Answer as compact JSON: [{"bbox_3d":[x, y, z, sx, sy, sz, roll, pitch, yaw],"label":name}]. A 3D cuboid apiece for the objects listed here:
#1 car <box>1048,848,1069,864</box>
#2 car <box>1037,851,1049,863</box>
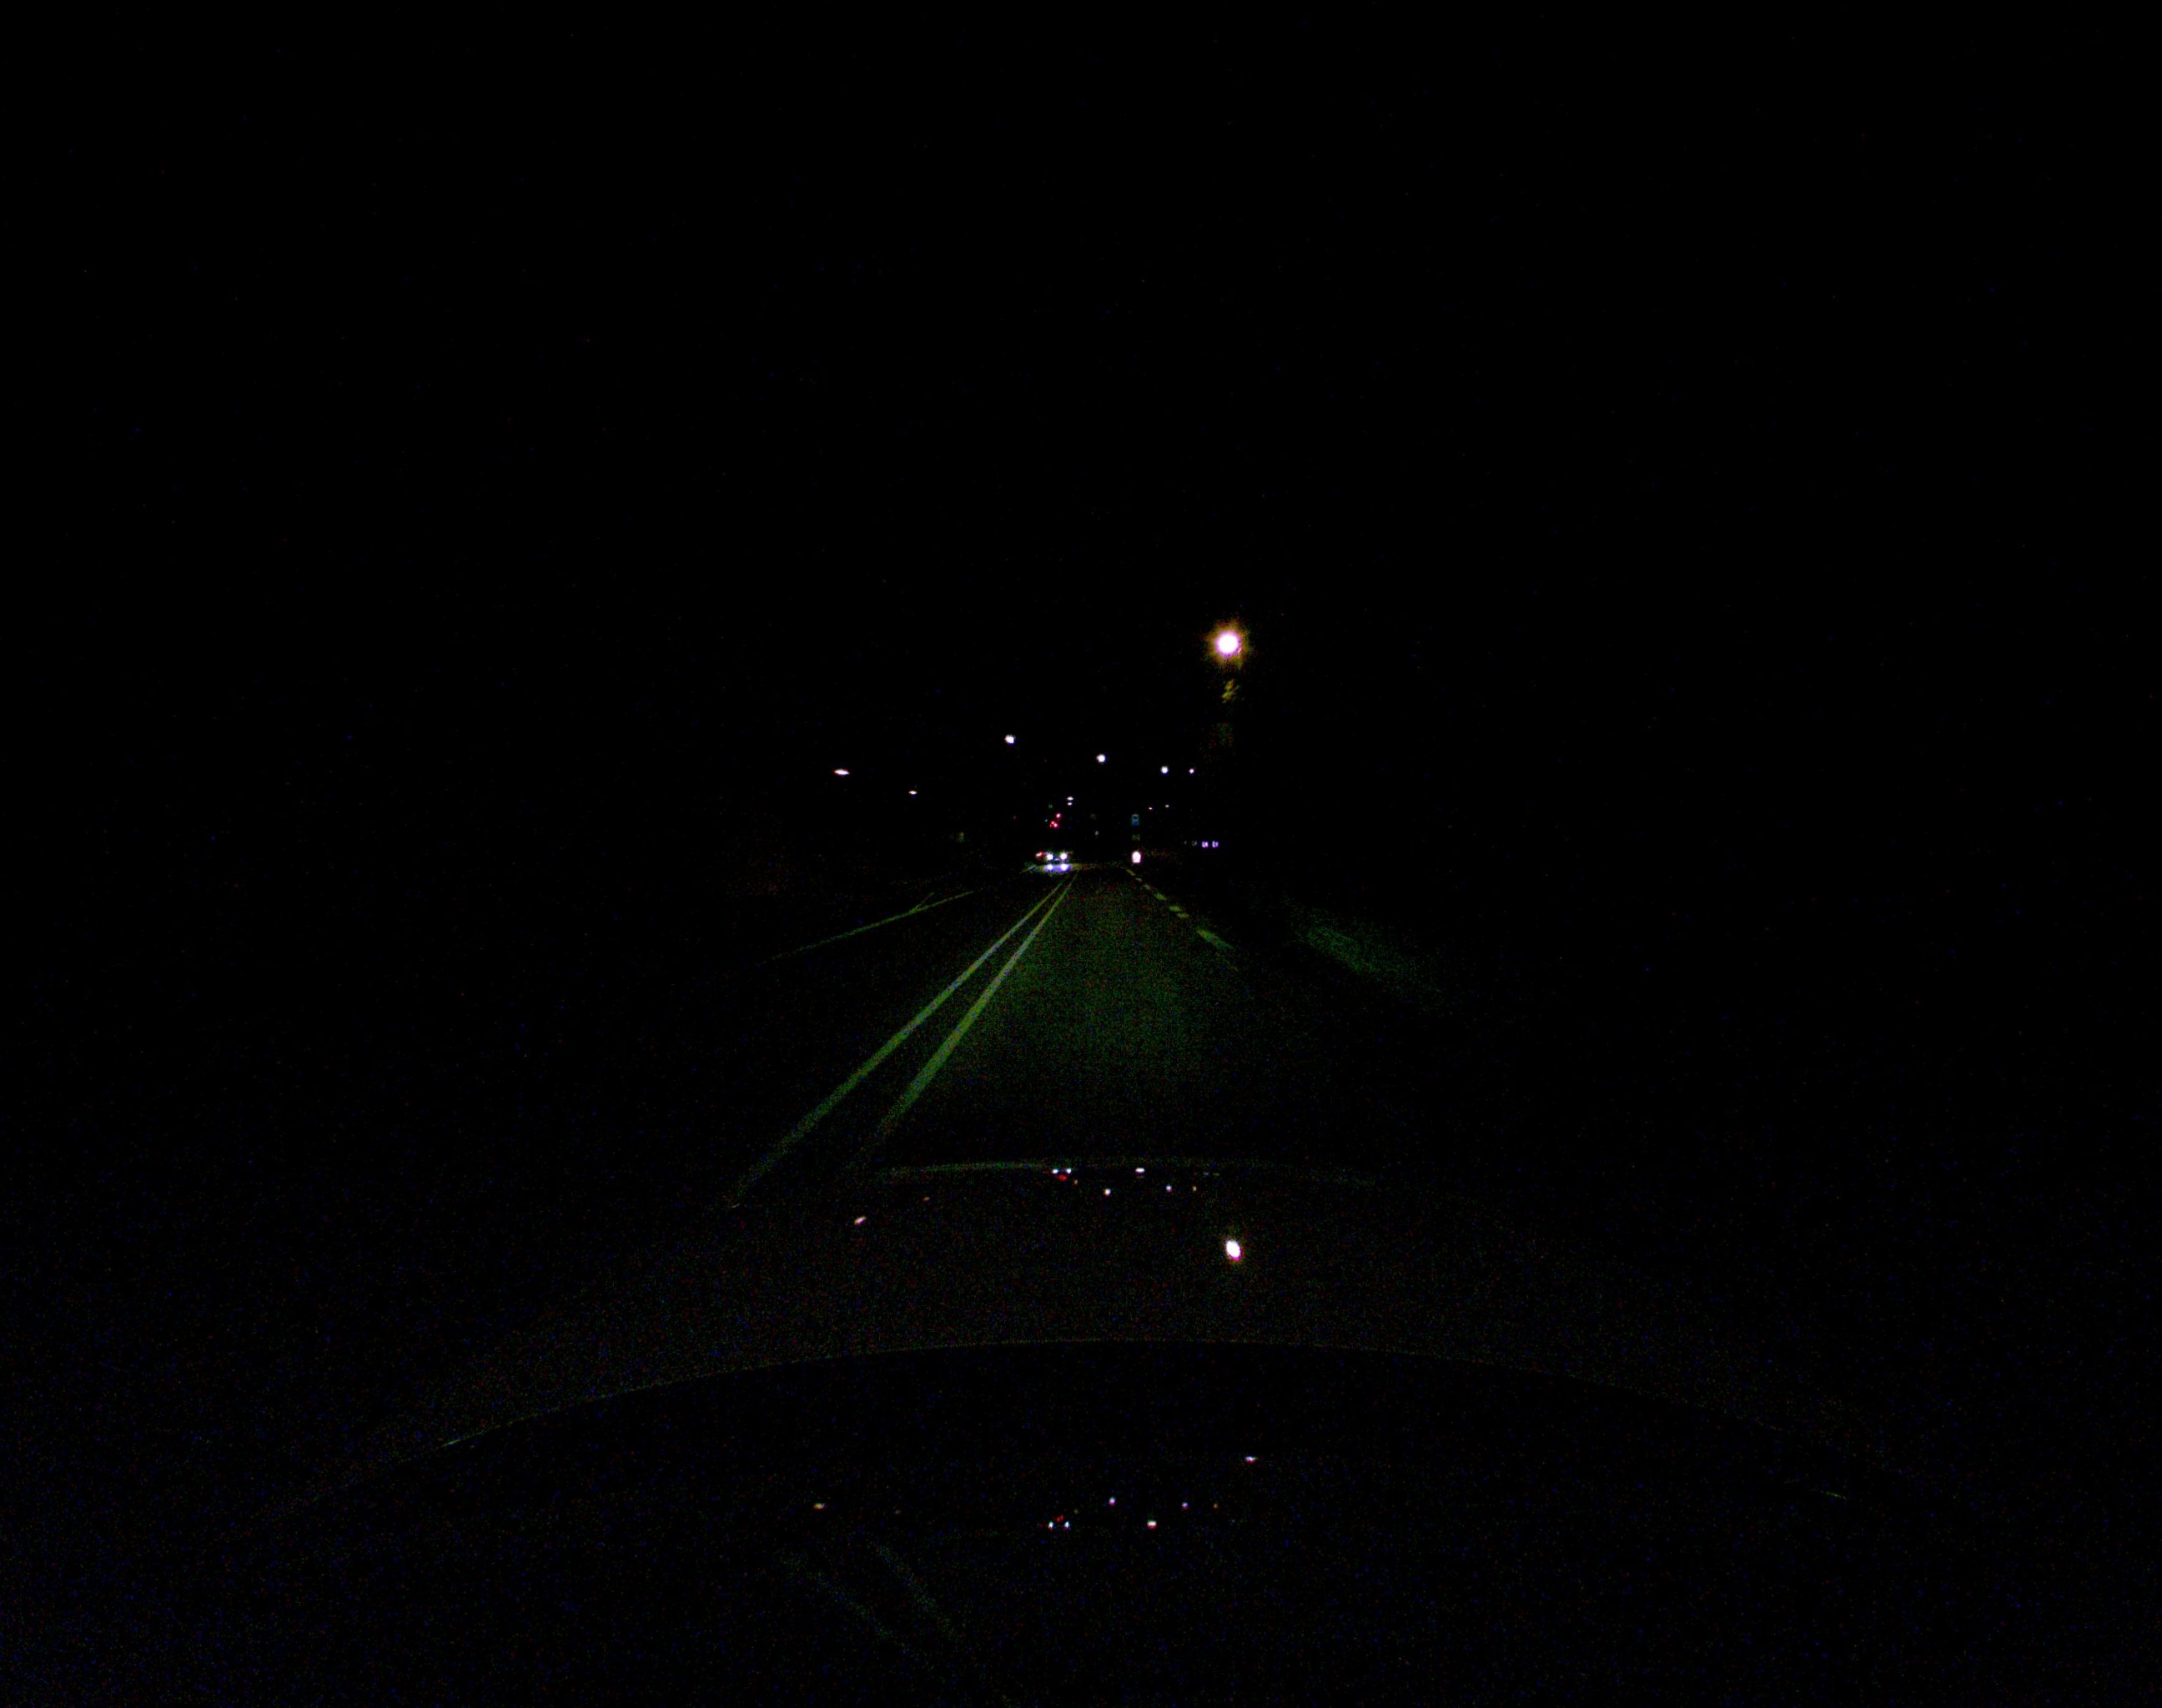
[{"bbox_3d":[-2.493,0.220,89.534,1.874,1.554,4.221,-3,0,3],"label":"car"},{"bbox_3d":[-7.143,0.563,151.498,1.917,2.014,4.111,0,-1,-7],"label":"car"}]
